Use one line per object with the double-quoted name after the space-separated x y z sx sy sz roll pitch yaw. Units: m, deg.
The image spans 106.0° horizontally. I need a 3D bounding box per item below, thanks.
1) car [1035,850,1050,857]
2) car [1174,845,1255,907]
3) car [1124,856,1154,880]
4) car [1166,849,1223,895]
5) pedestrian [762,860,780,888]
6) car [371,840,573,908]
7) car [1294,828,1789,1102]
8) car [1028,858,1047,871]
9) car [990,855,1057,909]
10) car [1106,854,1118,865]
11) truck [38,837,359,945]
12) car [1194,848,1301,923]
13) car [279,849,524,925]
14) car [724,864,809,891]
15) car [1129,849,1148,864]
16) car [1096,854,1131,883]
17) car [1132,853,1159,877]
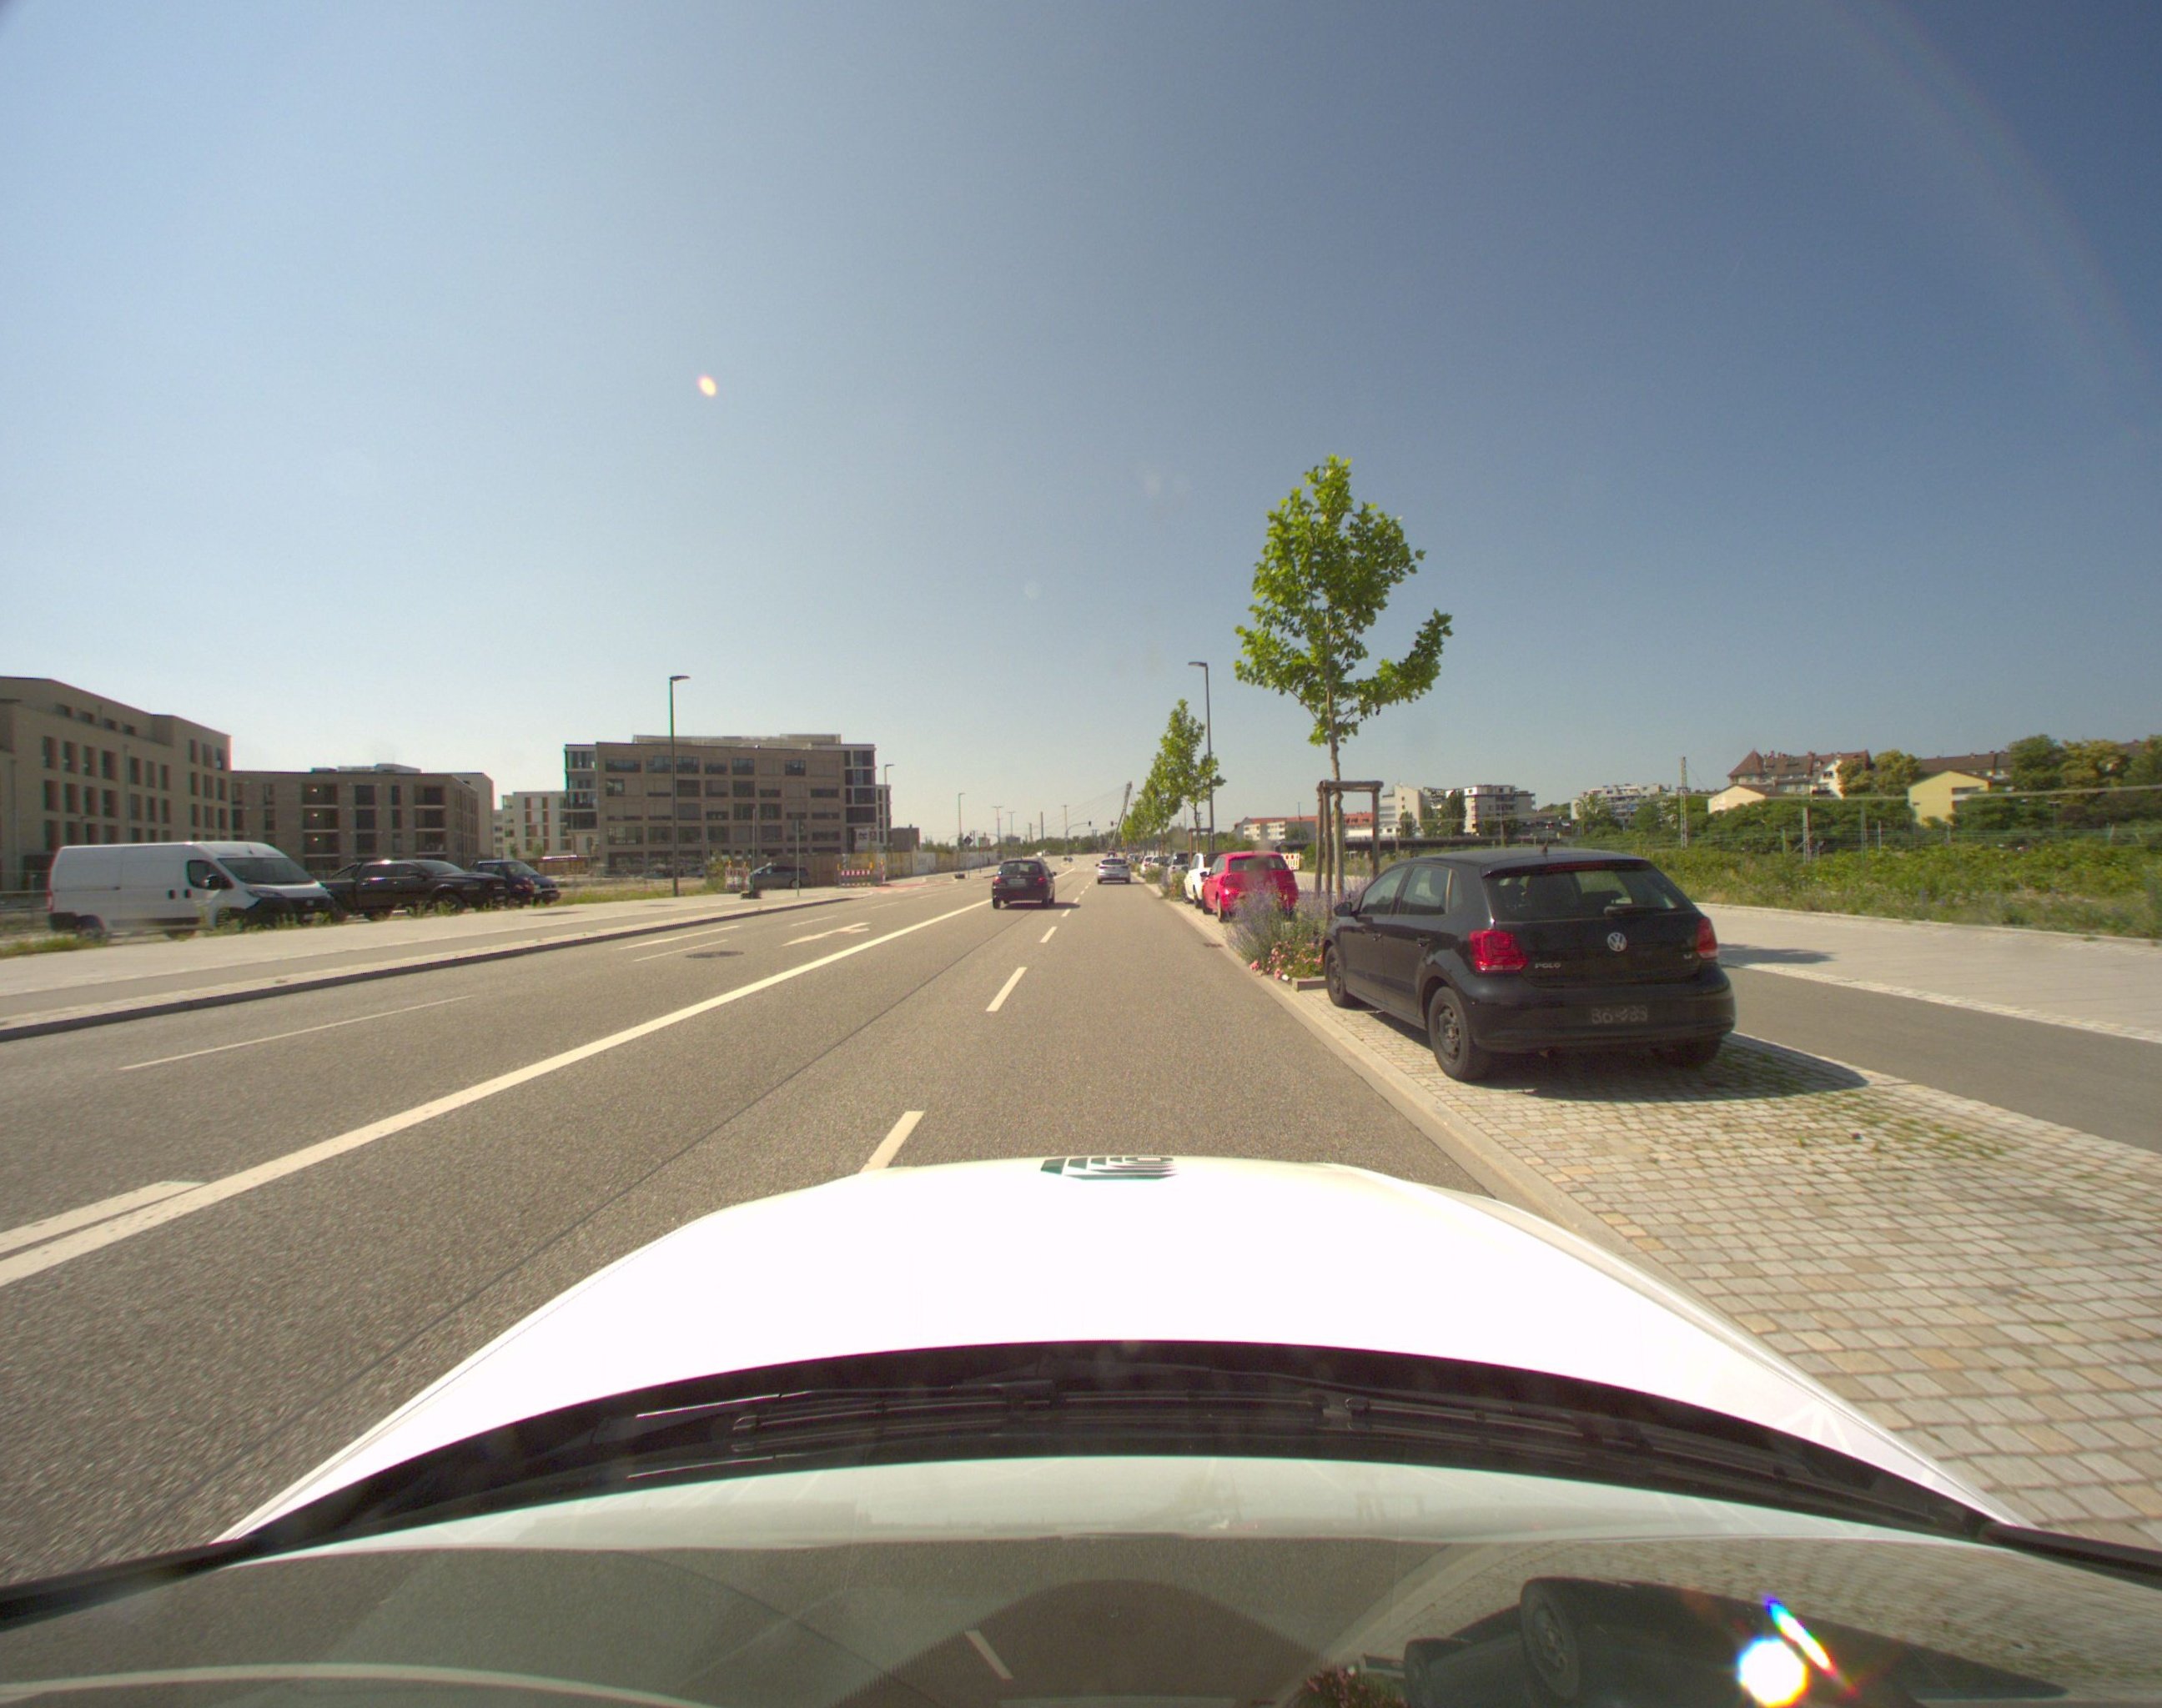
-9.554 -0.119 201.319 1.869 1.649 3.956 0 0 -36 "car"
3.664 0.627 22.959 1.711 1.524 3.643 -4 -2 2 "car"
3.985 0.939 55.056 1.899 1.479 4.163 -2 0 5 "car"
4.260 0.642 31.169 1.899 1.577 4.163 -2 0 5 "car"
-18.764 1.184 49.353 0.680 1.684 0.759 -1 -2 15 "pedestrian"
-22.150 0.711 29.824 5.428 2.173 2.394 -2 0 -2 "car"
3.119 0.617 6.654 1.627 1.429 4.241 -3 0 1 "car"
-4.871 1.220 91.573 1.697 1.352 4.458 -2 -1 2 "car"
-1.646 0.783 24.576 1.613 1.416 3.728 -2 0 1 "car"
4.718 0.865 125.496 1.771 1.568 4.003 -2 1 2 "car"
-22.152 0.891 20.655 5.548 2.362 2.275 -2 0 0 "truck"
3.594 0.607 18.211 1.711 1.451 4.002 0 1 2 "car"
-22.141 1.015 26.782 5.866 2.165 2.394 -2 0 -2 "car"
-18.350 1.342 47.520 4.264 1.318 1.979 -2 0 -33 "car"
6.248 0.275 88.354 1.698 1.463 3.953 -3 -1 0 "car"
1.816 0.766 44.382 1.770 1.442 4.004 -2 0 3 "car"
4.347 0.776 55.366 1.739 1.509 4.004 -2 -1 3 "car"
